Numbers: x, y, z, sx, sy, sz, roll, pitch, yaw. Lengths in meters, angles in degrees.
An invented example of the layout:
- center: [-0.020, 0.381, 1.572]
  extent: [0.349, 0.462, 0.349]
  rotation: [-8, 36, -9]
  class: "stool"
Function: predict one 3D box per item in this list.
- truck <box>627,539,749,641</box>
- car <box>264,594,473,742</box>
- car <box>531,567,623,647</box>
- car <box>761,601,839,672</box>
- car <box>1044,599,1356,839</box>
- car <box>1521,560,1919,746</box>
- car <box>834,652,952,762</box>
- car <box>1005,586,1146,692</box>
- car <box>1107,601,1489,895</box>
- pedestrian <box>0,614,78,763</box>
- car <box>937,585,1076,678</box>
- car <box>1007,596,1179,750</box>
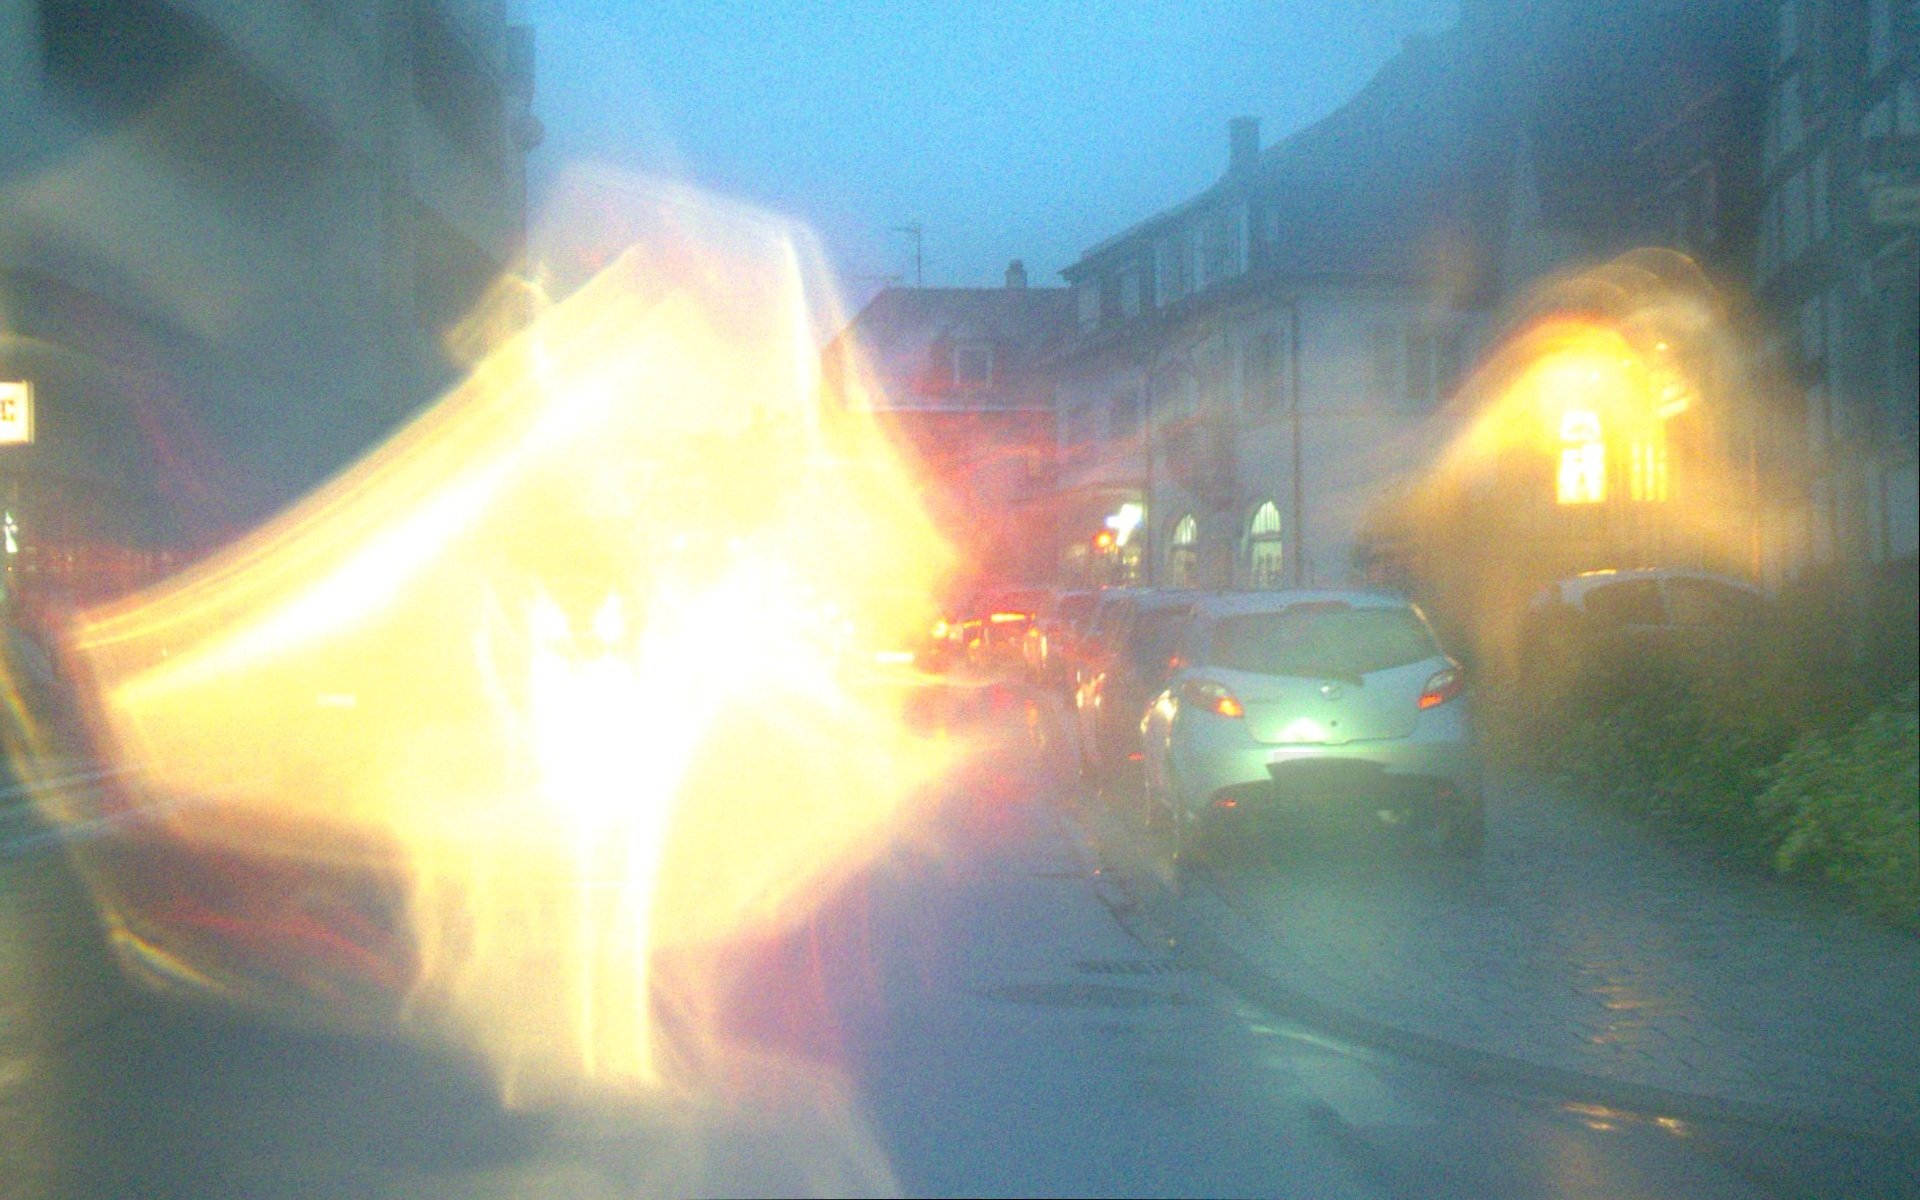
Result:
- center: [-8.816, -0.310, 110.600]
  extent: [3.014, 3.118, 8.002]
  rotation: [1, 0, -11]
  class: "truck"
- center: [-6.557, 0.721, 38.442]
  extent: [1.615, 1.527, 3.928]
  rotation: [1, 0, 0]
  class: "car"
- center: [-8.263, 0.137, 73.933]
  extent: [1.794, 1.637, 3.813]
  rotation: [1, 0, -8]
  class: "car"
- center: [-3.529, 0.794, 75.577]
  extent: [1.638, 1.476, 3.271]
  rotation: [1, 0, -3]
  class: "car"
- center: [1.647, 0.794, 25.006]
  extent: [1.764, 1.521, 4.390]
  rotation: [-2, 0, -2]
  class: "car"
- center: [6.857, 0.462, 30.755]
  extent: [3.289, 1.436, 1.686]
  rotation: [-3, -1, -1]
  class: "car"
- center: [-0.990, 1.534, 50.090]
  extent: [1.638, 1.476, 3.379]
  rotation: [1, 0, -2]
  class: "car"
- center: [1.684, 0.560, 51.654]
  extent: [1.794, 1.455, 4.531]
  rotation: [-2, 0, -1]
  class: "car"
- center: [1.839, 0.771, 19.835]
  extent: [1.732, 1.454, 4.000]
  rotation: [-2, 0, 0]
  class: "car"
- center: [-8.396, 0.785, 30.830]
  extent: [0.755, 1.306, 0.828]
  rotation: [1, 0, -2]
  class: "pedestrian"
- center: [0.779, 0.518, 60.800]
  extent: [1.882, 1.541, 4.672]
  rotation: [-1, 0, -6]
  class: "car"
- center: [1.349, 0.716, 35.536]
  extent: [1.626, 1.436, 3.799]
  rotation: [-2, 0, 2]
  class: "car"
